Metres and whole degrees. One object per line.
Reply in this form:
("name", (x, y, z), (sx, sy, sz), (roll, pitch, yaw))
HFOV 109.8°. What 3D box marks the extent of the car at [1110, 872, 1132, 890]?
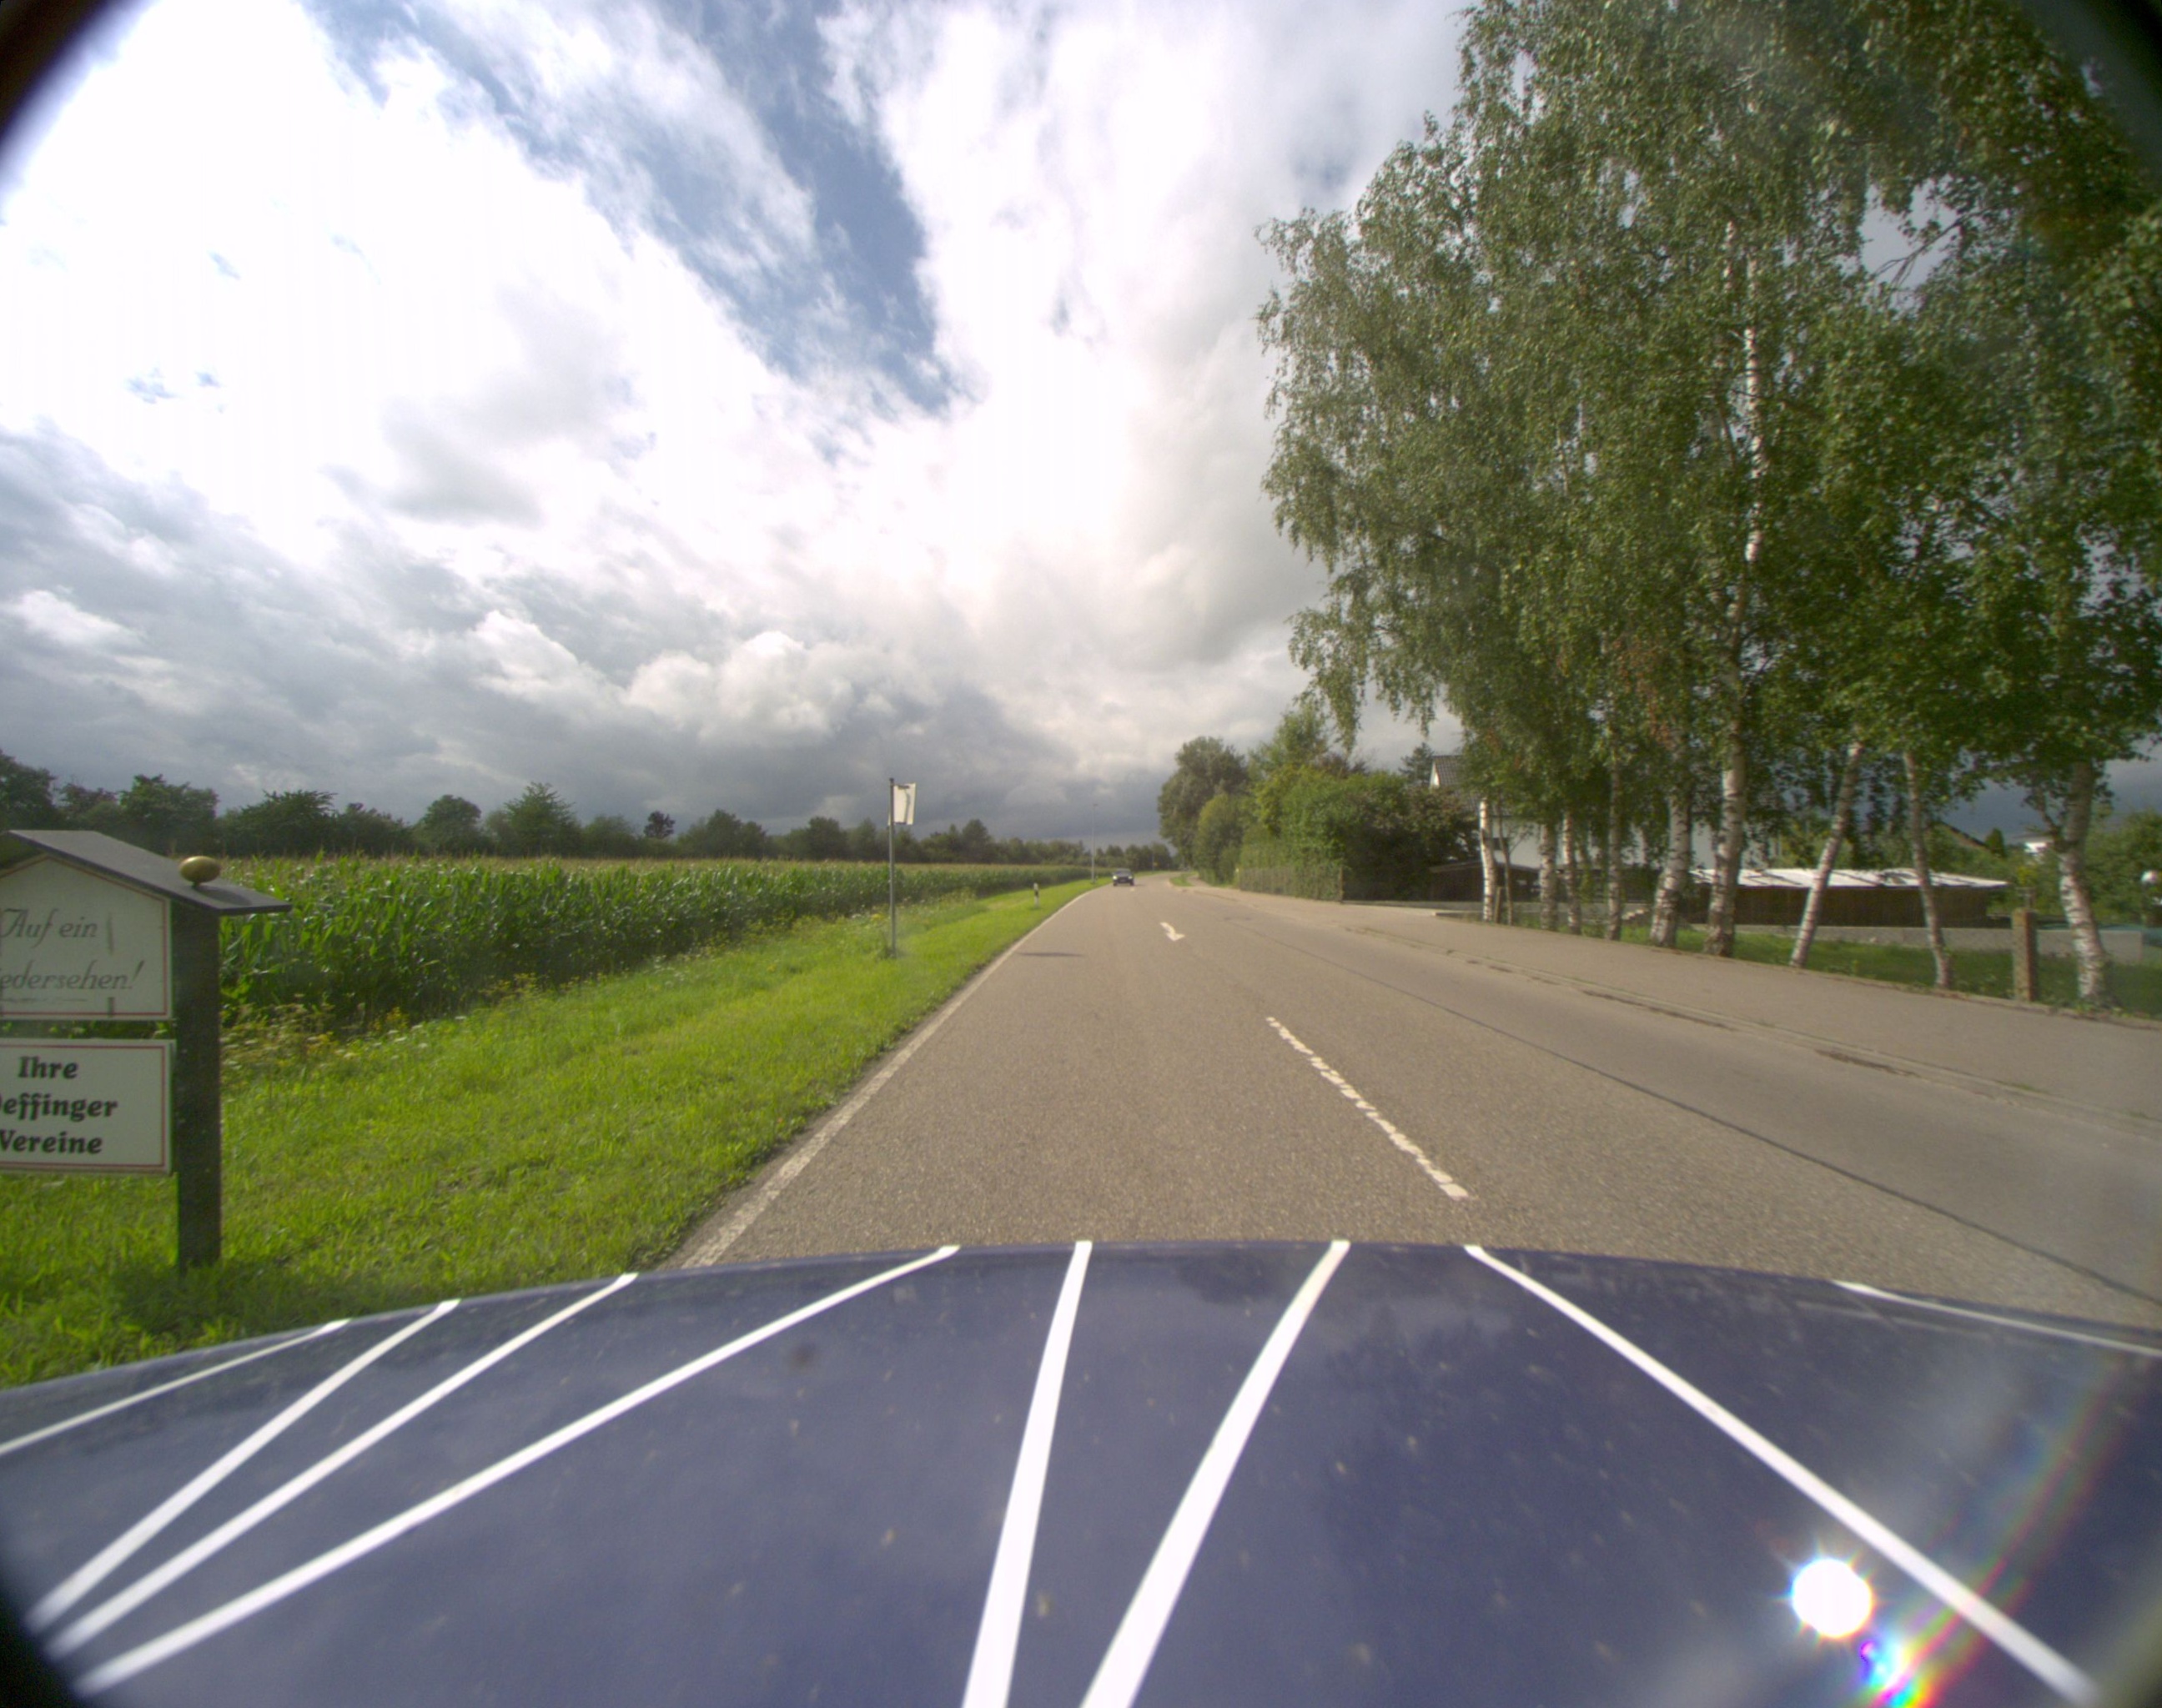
("car", (3.873, 2.554, 72.683), (1.998, 1.594, 4.002), (-1, -1, 4))
